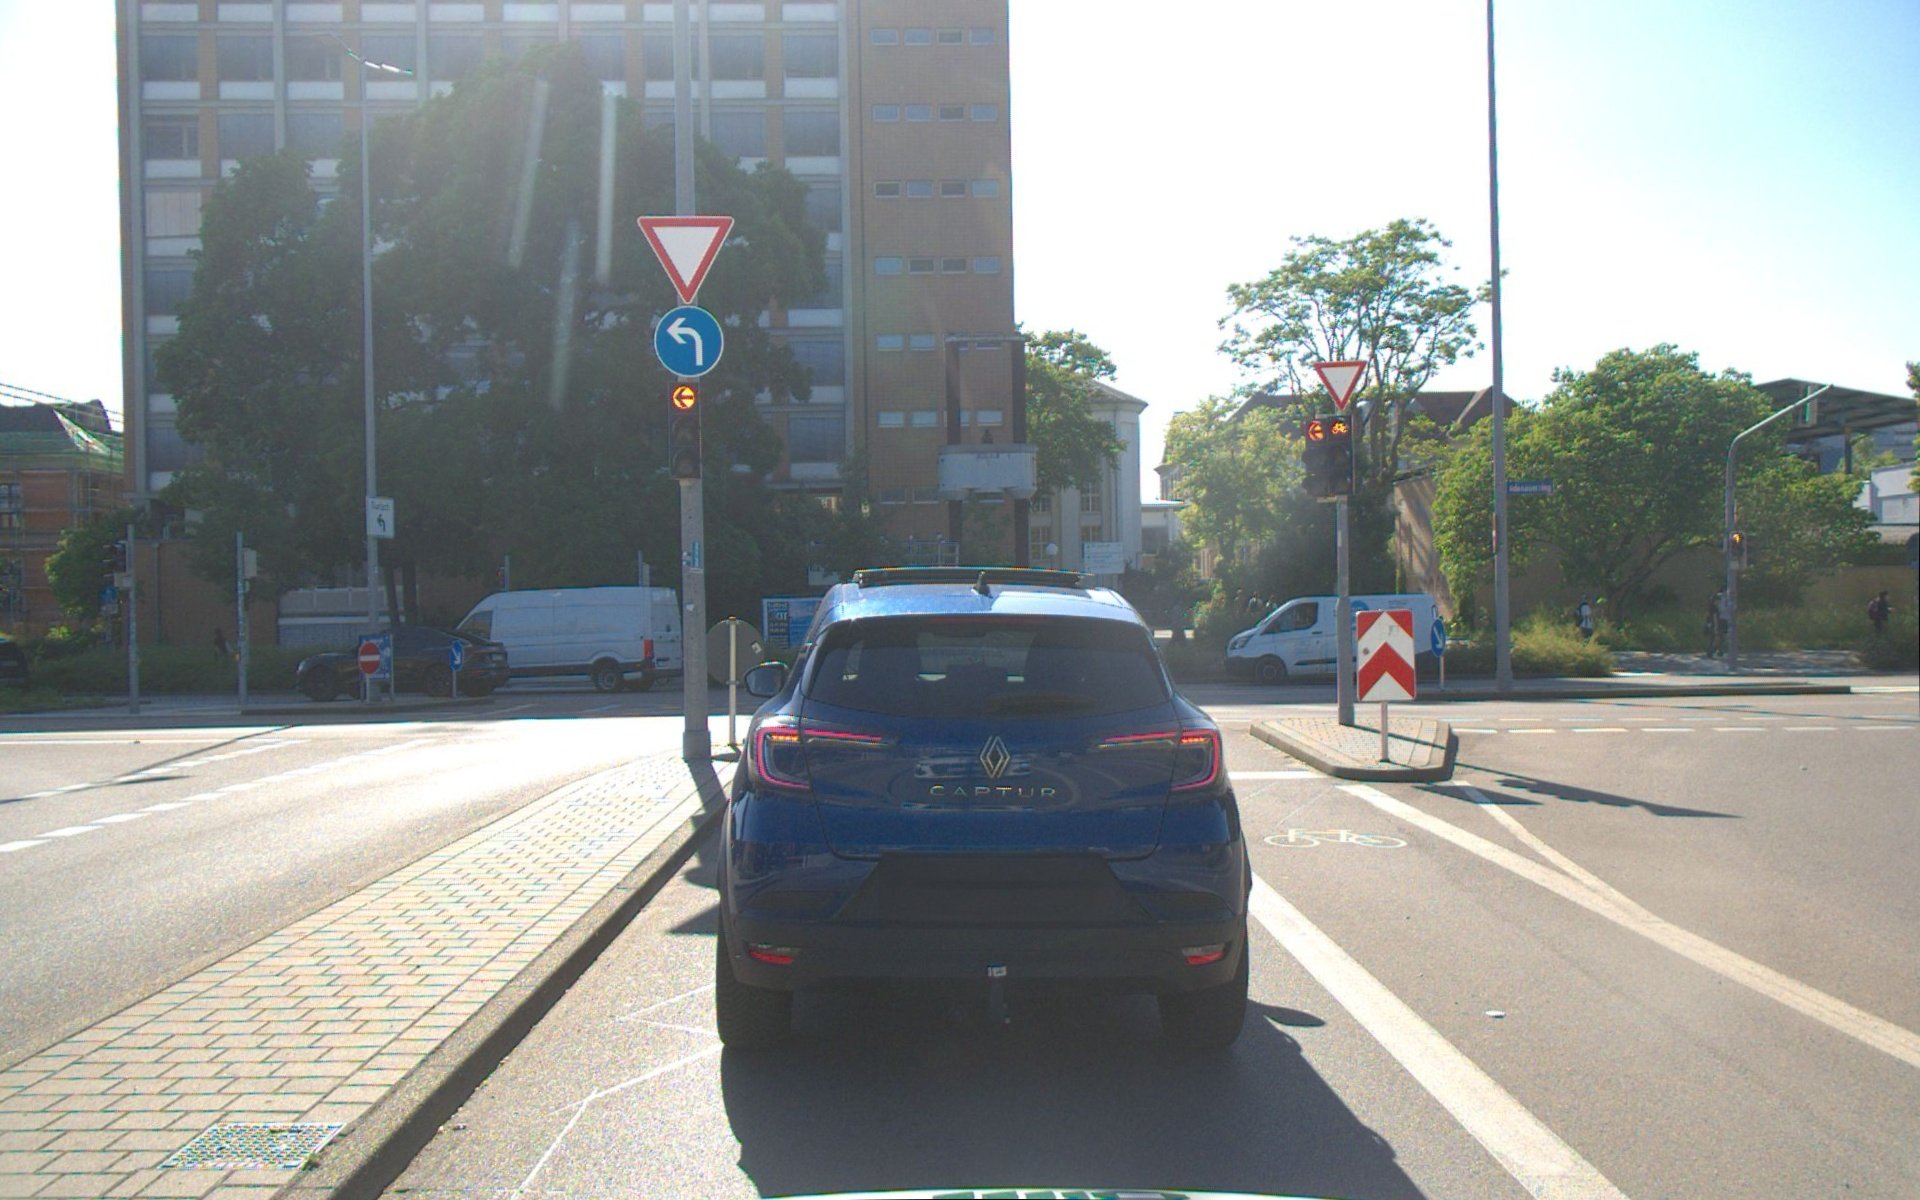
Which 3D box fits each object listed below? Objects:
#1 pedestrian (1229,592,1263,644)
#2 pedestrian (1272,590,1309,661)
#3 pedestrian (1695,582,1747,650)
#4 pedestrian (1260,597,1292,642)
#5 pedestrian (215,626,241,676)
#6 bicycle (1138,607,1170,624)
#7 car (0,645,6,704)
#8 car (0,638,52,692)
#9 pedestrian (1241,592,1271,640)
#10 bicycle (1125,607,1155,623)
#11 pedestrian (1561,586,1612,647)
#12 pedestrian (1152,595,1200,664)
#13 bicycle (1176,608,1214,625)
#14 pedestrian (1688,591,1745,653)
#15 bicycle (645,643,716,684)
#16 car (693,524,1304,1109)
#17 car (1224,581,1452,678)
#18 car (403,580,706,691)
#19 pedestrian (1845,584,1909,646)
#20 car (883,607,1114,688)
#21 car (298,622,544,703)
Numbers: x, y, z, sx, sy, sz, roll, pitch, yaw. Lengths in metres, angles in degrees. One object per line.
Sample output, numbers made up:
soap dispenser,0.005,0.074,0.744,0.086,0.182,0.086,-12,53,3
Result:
pedestrian,11.351,0.703,65.687,1.132,2.049,1.164,-1,0,-1
pedestrian,8.996,0.682,45.046,0.912,1.888,0.808,-1,0,8
pedestrian,20.048,0.414,43.584,0.943,1.763,0.926,-1,0,4
pedestrian,11.924,0.724,62.421,0.917,1.641,1.175,-1,0,-1
pedestrian,-23.638,1.647,53.429,0.522,1.598,0.555,-1,0,24
bicycle,11.197,0.881,95.360,1.735,0.914,0.765,-1,0,-1
car,-26.138,1.919,40.965,3.958,1.464,2.067,-1,0,12
car,-28.436,1.865,47.304,3.958,1.464,2.067,-1,0,15
pedestrian,11.259,0.598,62.909,0.933,1.772,0.984,-1,0,-1
bicycle,10.851,0.908,99.718,1.735,0.908,0.765,-1,0,-1
pedestrian,16.390,0.426,43.308,1.062,1.547,0.931,-1,0,9
pedestrian,6.056,0.815,46.314,1.269,1.888,0.967,-1,0,11
bicycle,11.854,0.840,83.569,1.739,0.837,0.763,-1,0,-11
pedestrian,19.104,0.549,41.786,1.052,1.547,0.879,-1,0,4
bicycle,-7.472,1.690,44.318,0.687,1.025,1.858,-4,-3,39
car,0.062,0.620,6.720,1.758,1.684,3.852,1,0,-2
car,8.485,0.655,37.555,4.892,2.049,2.074,-1,0,9
car,-10.184,0.885,41.800,6.787,2.591,3.015,-1,0,14
pedestrian,23.701,0.380,42.768,1.122,1.547,0.942,-1,0,5
car,0.889,1.019,35.770,4.739,1.609,2.103,-1,0,9
car,-12.215,1.421,37.617,4.922,1.702,2.001,1,-3,10
